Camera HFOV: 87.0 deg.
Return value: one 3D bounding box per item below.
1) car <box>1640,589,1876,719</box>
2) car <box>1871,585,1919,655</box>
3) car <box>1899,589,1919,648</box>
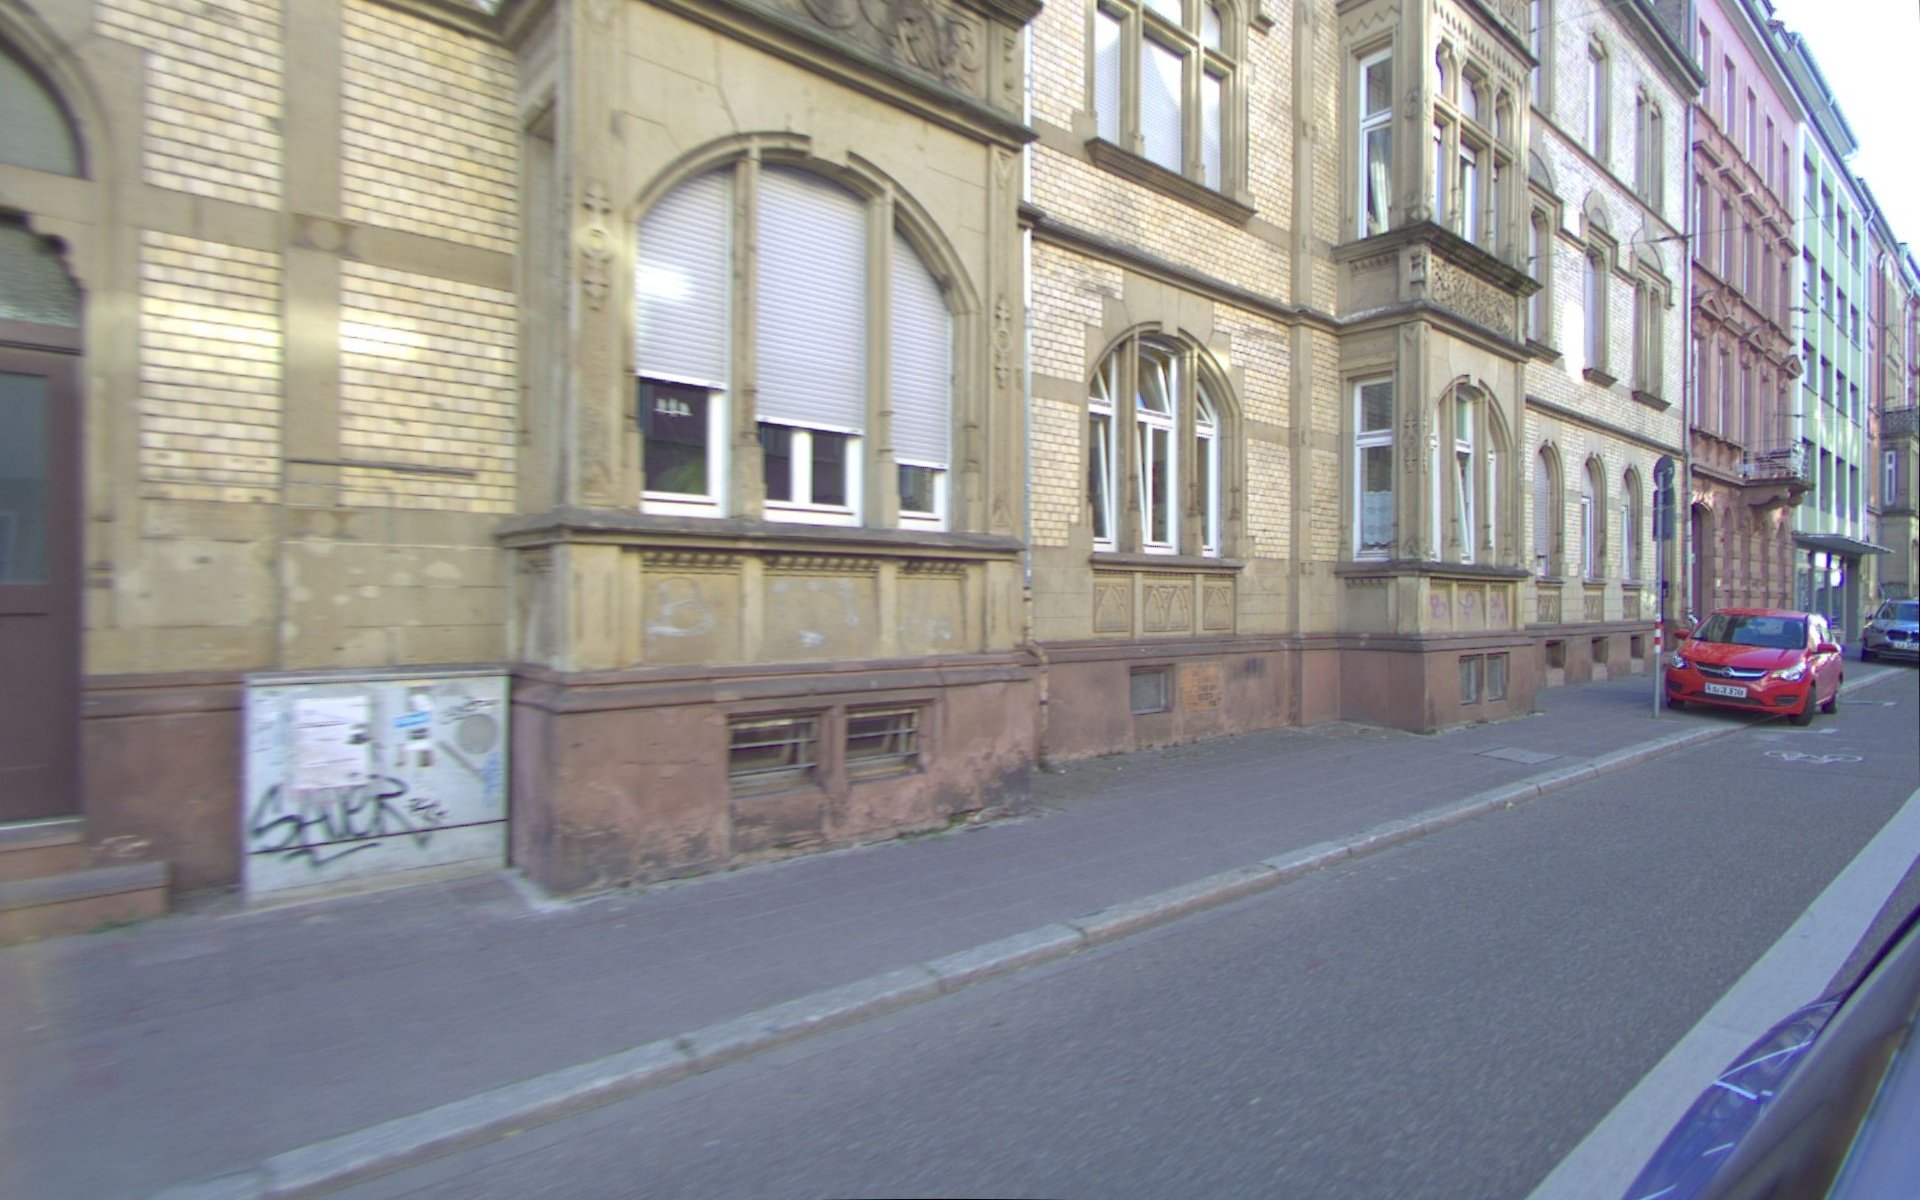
[{"bbox_3d":[11.611,0.642,14.619,4.324,1.501,1.870,-1,3,-41],"label":"car"},{"bbox_3d":[25.038,0.499,26.200,4.330,1.666,1.867,-1,4,-45],"label":"car"},{"bbox_3d":[29.343,0.547,29.765,4.703,1.635,1.998,-1,4,-41],"label":"car"}]
